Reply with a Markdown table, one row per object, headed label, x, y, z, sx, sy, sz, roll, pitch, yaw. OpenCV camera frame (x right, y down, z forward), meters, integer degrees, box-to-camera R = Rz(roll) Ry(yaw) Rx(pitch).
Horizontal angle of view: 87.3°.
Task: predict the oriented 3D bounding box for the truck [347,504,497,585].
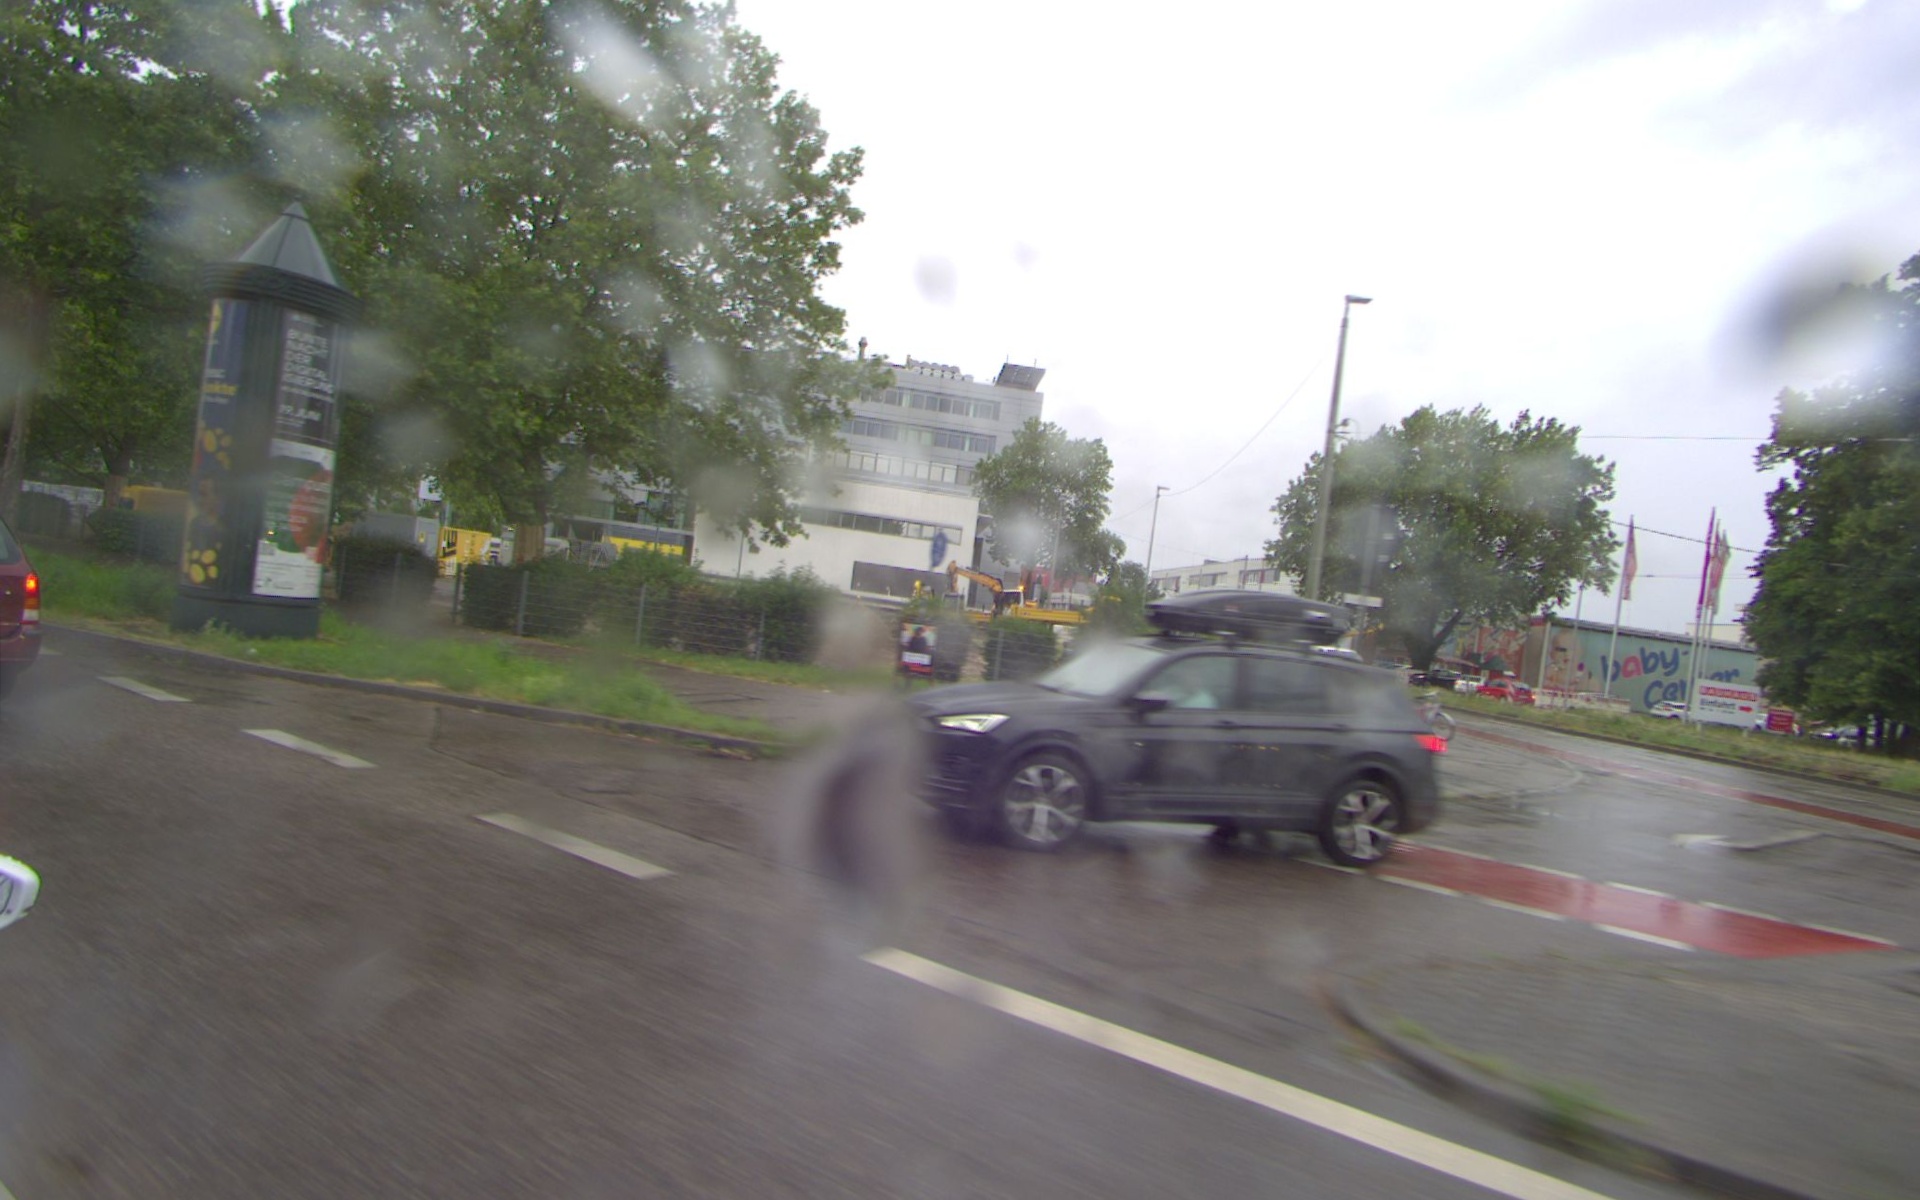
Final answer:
| label | x | y | z | sx | sy | sz | roll | pitch | yaw |
| --- | --- | --- | --- | --- | --- | --- | --- | --- | --- |
| truck | -28.057 | -2.737 | 53.112 | 3.026 | 3.066 | 9.502 | 7 | -2 | -4 |

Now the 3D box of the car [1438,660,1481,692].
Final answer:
| label | x | y | z | sx | sy | sz | roll | pitch | yaw |
| --- | --- | --- | --- | --- | --- | --- | --- | --- | --- |
| car | 32.174 | 4.927 | 64.936 | 1.773 | 1.799 | 3.785 | 7 | -2 | 18 |

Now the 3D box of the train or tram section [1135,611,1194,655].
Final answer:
| label | x | y | z | sx | sy | sz | roll | pitch | yaw |
| --- | --- | --- | --- | --- | --- | --- | --- | --- | --- |
| train or tram section | 18.490 | 2.948 | 91.501 | 2.358 | 3.560 | 8.528 | 7 | -2 | -6 |

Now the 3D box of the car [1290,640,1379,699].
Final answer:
| label | x | y | z | sx | sy | sz | roll | pitch | yaw |
| --- | --- | --- | --- | --- | --- | --- | --- | --- | --- |
| car | 15.712 | 2.876 | 42.450 | 1.963 | 2.114 | 4.232 | 7 | -2 | 1 |

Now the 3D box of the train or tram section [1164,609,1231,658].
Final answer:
| label | x | y | z | sx | sy | sz | roll | pitch | yaw |
| --- | --- | --- | --- | --- | --- | --- | --- | --- | --- |
| train or tram section | 19.456 | 2.748 | 83.076 | 2.358 | 3.560 | 8.368 | 7 | -2 | -6 |

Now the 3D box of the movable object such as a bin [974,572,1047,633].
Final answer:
| label | x | y | z | sx | sy | sz | roll | pitch | yaw |
| --- | --- | --- | --- | --- | --- | --- | --- | --- | --- |
| movable object such as a bin | 3.482 | 0.175 | 69.331 | 3.566 | 3.670 | 3.301 | 7 | 0 | -23 |

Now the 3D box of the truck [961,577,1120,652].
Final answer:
| label | x | y | z | sx | sy | sz | roll | pitch | yaw |
| --- | --- | --- | --- | --- | --- | --- | --- | --- | --- |
| truck | 4.957 | 0.946 | 62.681 | 9.300 | 3.384 | 2.497 | 7 | -1 | -4 |

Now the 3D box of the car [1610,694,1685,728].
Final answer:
| label | x | y | z | sx | sy | sz | roll | pitch | yaw |
| --- | --- | --- | --- | --- | --- | --- | --- | --- | --- |
| car | 47.190 | 7.607 | 69.123 | 3.711 | 1.799 | 1.809 | 7 | -1 | 2 |

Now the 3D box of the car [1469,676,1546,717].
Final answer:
| label | x | y | z | sx | sy | sz | roll | pitch | yaw |
| --- | --- | --- | --- | --- | --- | --- | --- | --- | --- |
| car | 30.087 | 5.289 | 55.372 | 1.775 | 1.799 | 3.781 | 7 | -2 | -5 |

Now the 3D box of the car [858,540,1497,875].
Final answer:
| label | x | y | z | sx | sy | sz | roll | pitch | yaw |
| --- | --- | --- | --- | --- | --- | --- | --- | --- | --- |
| car | 1.747 | 0.886 | 8.361 | 4.686 | 2.082 | 1.924 | 7 | 0 | -18 |

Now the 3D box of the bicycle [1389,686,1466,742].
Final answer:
| label | x | y | z | sx | sy | sz | roll | pitch | yaw |
| --- | --- | --- | --- | --- | --- | --- | --- | --- | --- |
| bicycle | 10.287 | 2.508 | 22.135 | 1.612 | 1.051 | 0.804 | 7 | 1 | -38 |

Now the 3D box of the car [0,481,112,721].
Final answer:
| label | x | y | z | sx | sy | sz | roll | pitch | yaw |
| --- | --- | --- | --- | --- | --- | --- | --- | --- | --- |
| car | -8.155 | -0.250 | 7.223 | 4.043 | 1.554 | 1.843 | 7 | -2 | 31 |

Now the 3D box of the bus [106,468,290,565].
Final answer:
| label | x | y | z | sx | sy | sz | roll | pitch | yaw |
| --- | --- | --- | --- | --- | --- | --- | --- | --- | --- |
| bus | -27.846 | -3.006 | 36.927 | 1.967 | 2.678 | 4.800 | 8 | -1 | 33 |

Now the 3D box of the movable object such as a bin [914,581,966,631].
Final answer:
| label | x | y | z | sx | sy | sz | roll | pitch | yaw |
| --- | --- | --- | --- | --- | --- | --- | --- | --- | --- |
| movable object such as a bin | -1.023 | 0.348 | 53.880 | 1.975 | 2.384 | 3.284 | 7 | 0 | 9 |
